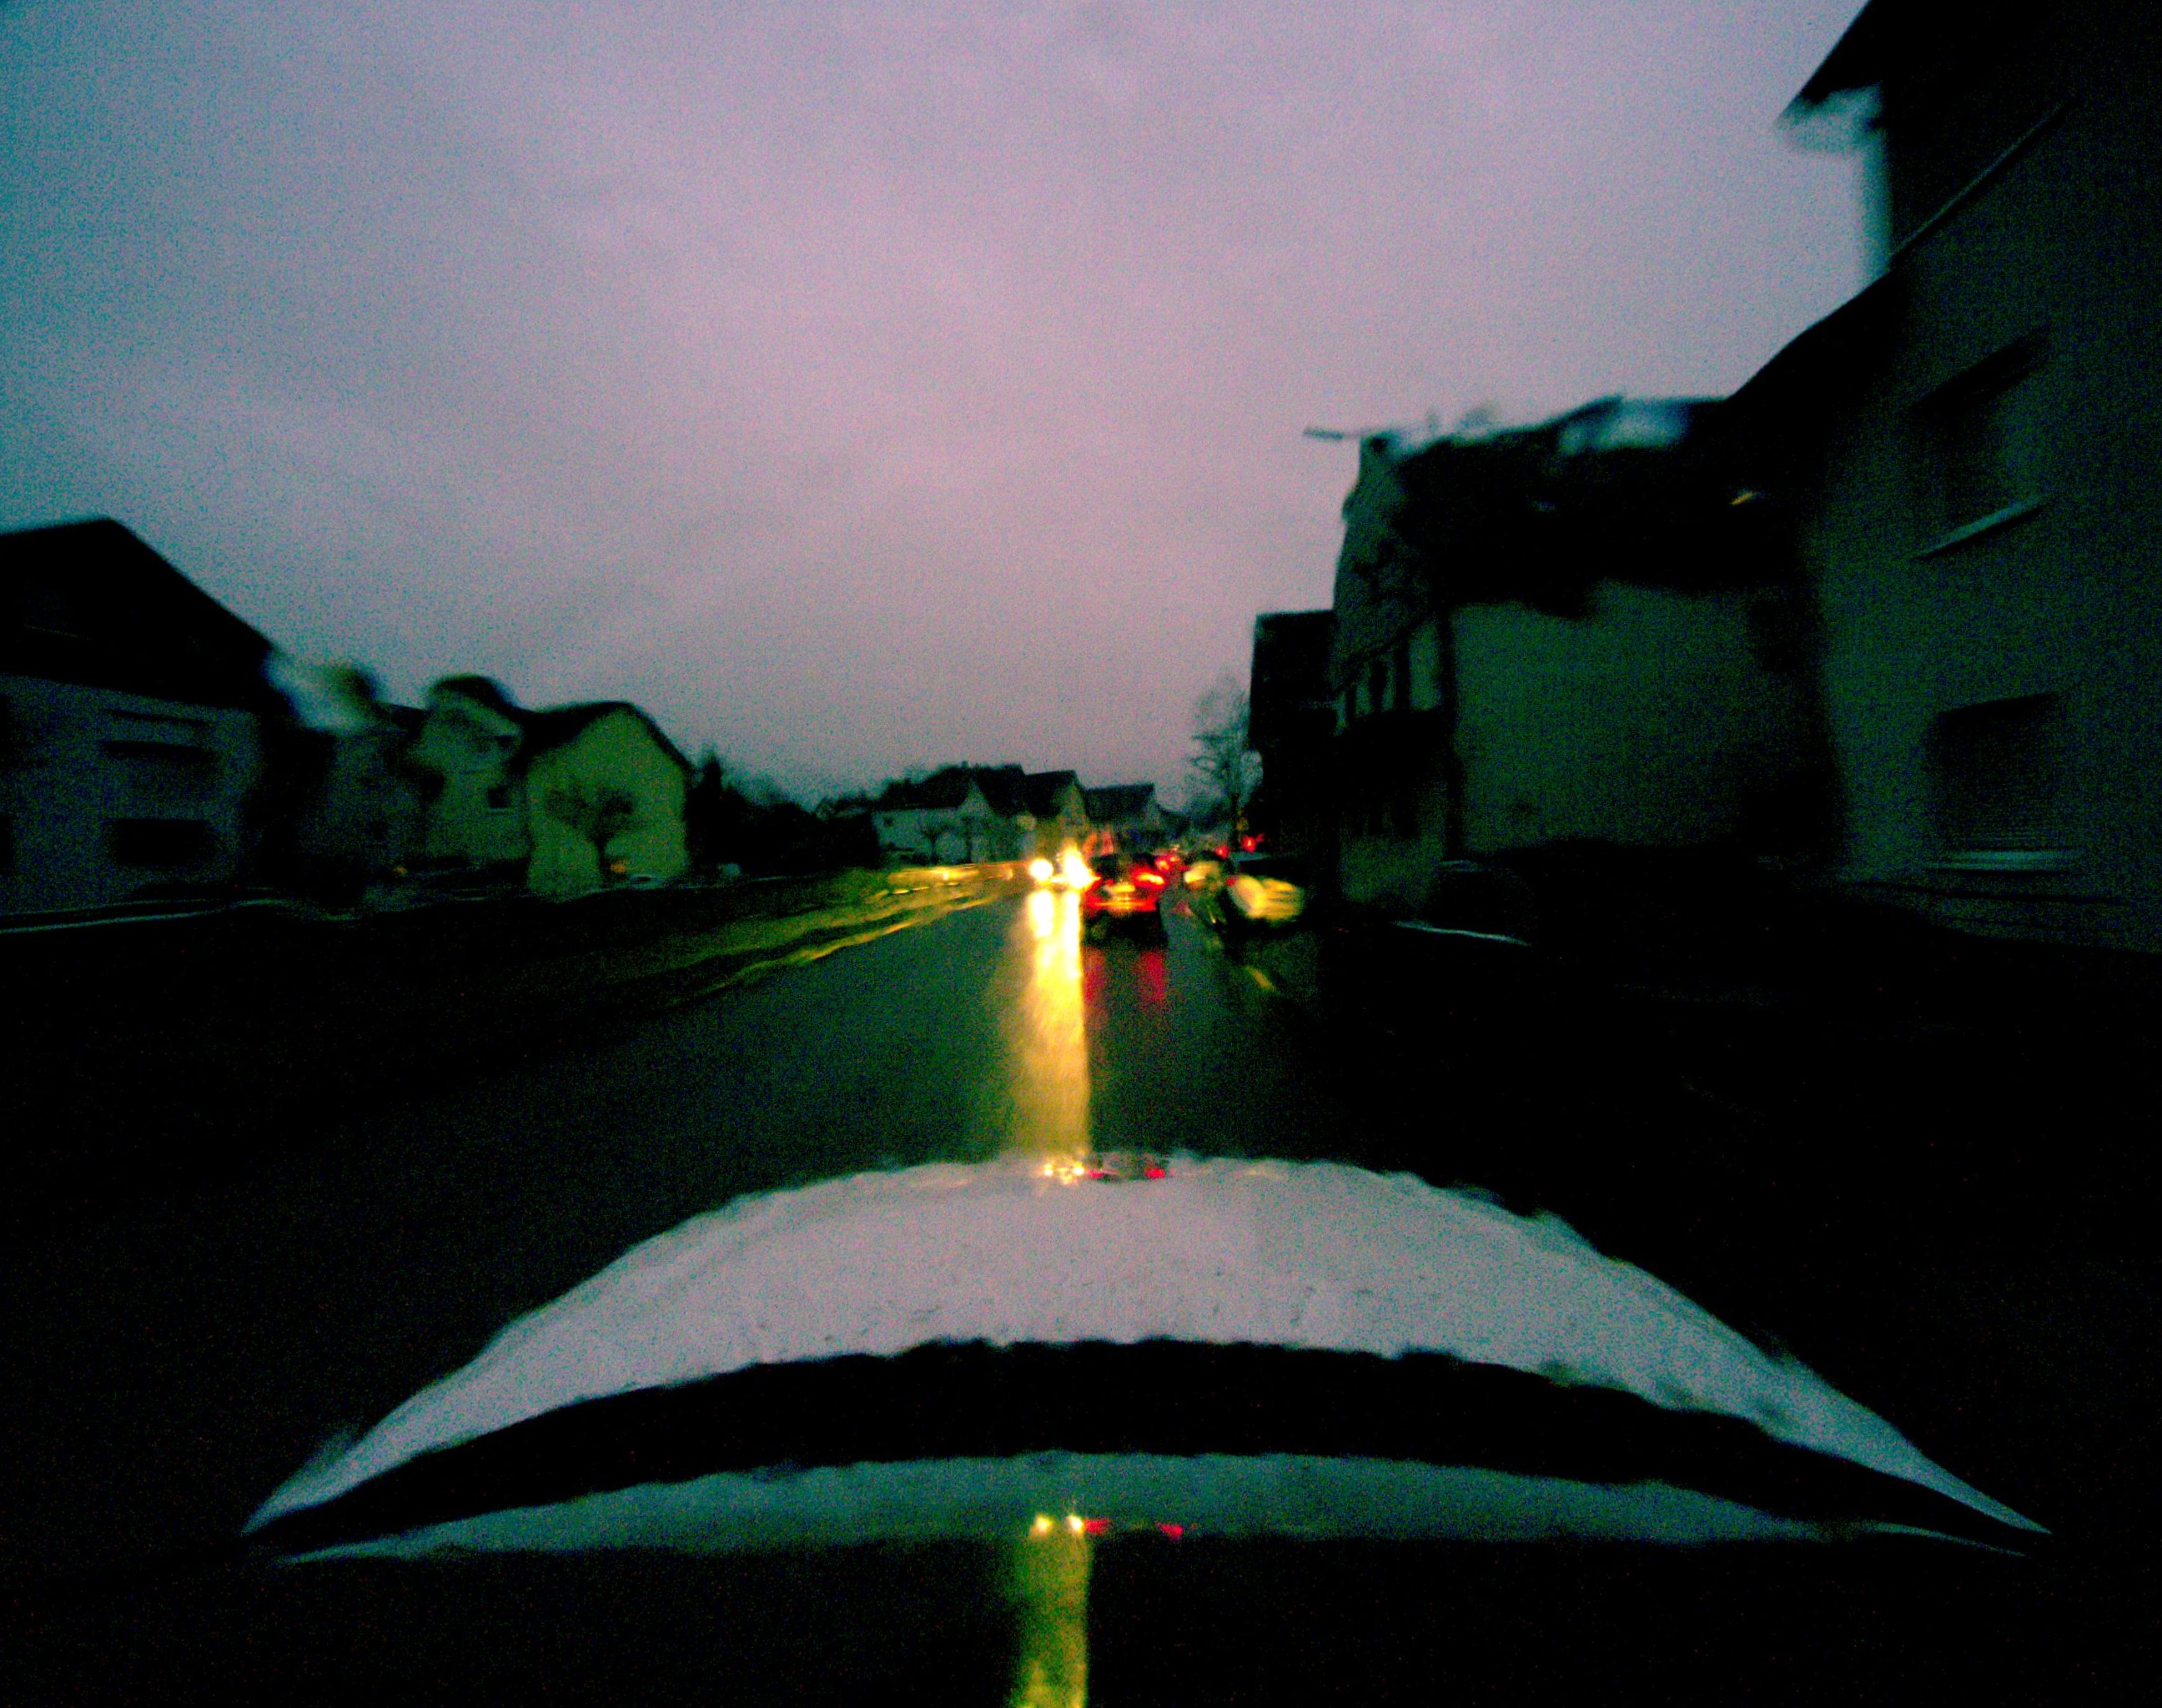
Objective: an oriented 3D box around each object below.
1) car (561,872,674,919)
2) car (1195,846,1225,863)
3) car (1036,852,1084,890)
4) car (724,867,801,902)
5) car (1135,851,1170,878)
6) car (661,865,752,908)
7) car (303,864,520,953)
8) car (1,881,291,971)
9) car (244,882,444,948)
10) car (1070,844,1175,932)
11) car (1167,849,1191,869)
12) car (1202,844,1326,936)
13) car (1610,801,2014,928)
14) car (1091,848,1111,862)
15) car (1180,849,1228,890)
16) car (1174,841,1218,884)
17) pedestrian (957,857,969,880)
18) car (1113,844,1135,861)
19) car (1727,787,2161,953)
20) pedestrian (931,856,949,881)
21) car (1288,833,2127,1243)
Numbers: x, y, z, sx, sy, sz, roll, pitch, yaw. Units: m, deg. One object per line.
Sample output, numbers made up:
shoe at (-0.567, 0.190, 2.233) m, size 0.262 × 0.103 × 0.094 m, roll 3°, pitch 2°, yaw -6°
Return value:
car at (-19.457, 1.706, 34.419) m, size 1.863 × 1.598 × 4.234 m, roll -4°, pitch 0°, yaw 8°
car at (12.398, 0.025, 78.260) m, size 1.976 × 1.391 × 4.021 m, roll -2°, pitch 0°, yaw 21°
car at (-0.858, 0.680, 34.862) m, size 1.725 × 1.536 × 3.784 m, roll 0°, pitch 0°, yaw 3°
car at (-17.776, 1.650, 45.670) m, size 1.862 × 1.572 × 4.514 m, roll -4°, pitch 0°, yaw 10°
car at (3.899, 0.545, 44.645) m, size 1.676 × 1.453 × 4.001 m, roll 0°, pitch 0°, yaw 1°
car at (-18.505, 1.571, 40.523) m, size 1.863 × 1.778 × 4.511 m, roll -4°, pitch 0°, yaw 8°
car at (-15.657, 1.193, 19.352) m, size 1.792 × 1.803 × 3.864 m, roll -3°, pitch -1°, yaw 3°
car at (-21.094, 1.546, 18.669) m, size 1.849 × 1.681 × 4.007 m, roll 0°, pitch 0°, yaw 6°
car at (-20.834, 1.661, 23.284) m, size 1.760 × 1.523 × 4.039 m, roll -3°, pitch -1°, yaw 6°
car at (0.893, 0.623, 17.634) m, size 1.956 × 1.594 × 4.317 m, roll -1°, pitch 1°, yaw 3°
car at (7.608, 0.367, 63.371) m, size 1.805 × 1.412 × 4.008 m, roll -1°, pitch 1°, yaw 7°
car at (3.487, 0.621, 16.240) m, size 1.645 × 1.455 × 4.241 m, roll -5°, pitch 0°, yaw 3°
car at (10.695, 0.171, 12.259) m, size 4.122 × 1.555 × 1.868 m, roll -3°, pitch -1°, yaw 9°
car at (2.477, 0.085, 101.653) m, size 1.819 × 1.613 × 4.047 m, roll -3°, pitch 1°, yaw -7°
car at (4.844, 0.568, 32.311) m, size 1.637 × 1.415 × 2.732 m, roll -5°, pitch 0°, yaw 6°
car at (5.429, 0.344, 38.104) m, size 1.758 × 1.782 × 4.012 m, roll -5°, pitch 0°, yaw 10°
pedestrian at (-8.526, 1.046, 58.852) m, size 0.658 × 1.697 × 0.544 m, roll -1°, pitch 0°, yaw 16°
car at (5.254, -0.167, 100.854) m, size 2.035 × 1.925 × 4.047 m, roll -3°, pitch 1°, yaw -7°
car at (10.465, 0.161, 9.653) m, size 3.985 × 1.601 × 1.809 m, roll -4°, pitch 0°, yaw 8°
pedestrian at (-10.302, 1.026, 59.405) m, size 0.921 × 1.784 × 0.977 m, roll -1°, pitch 0°, yaw 16°
car at (2.984, 0.683, 5.555) m, size 1.950 × 1.532 × 5.009 m, roll 0°, pitch 0°, yaw 1°
